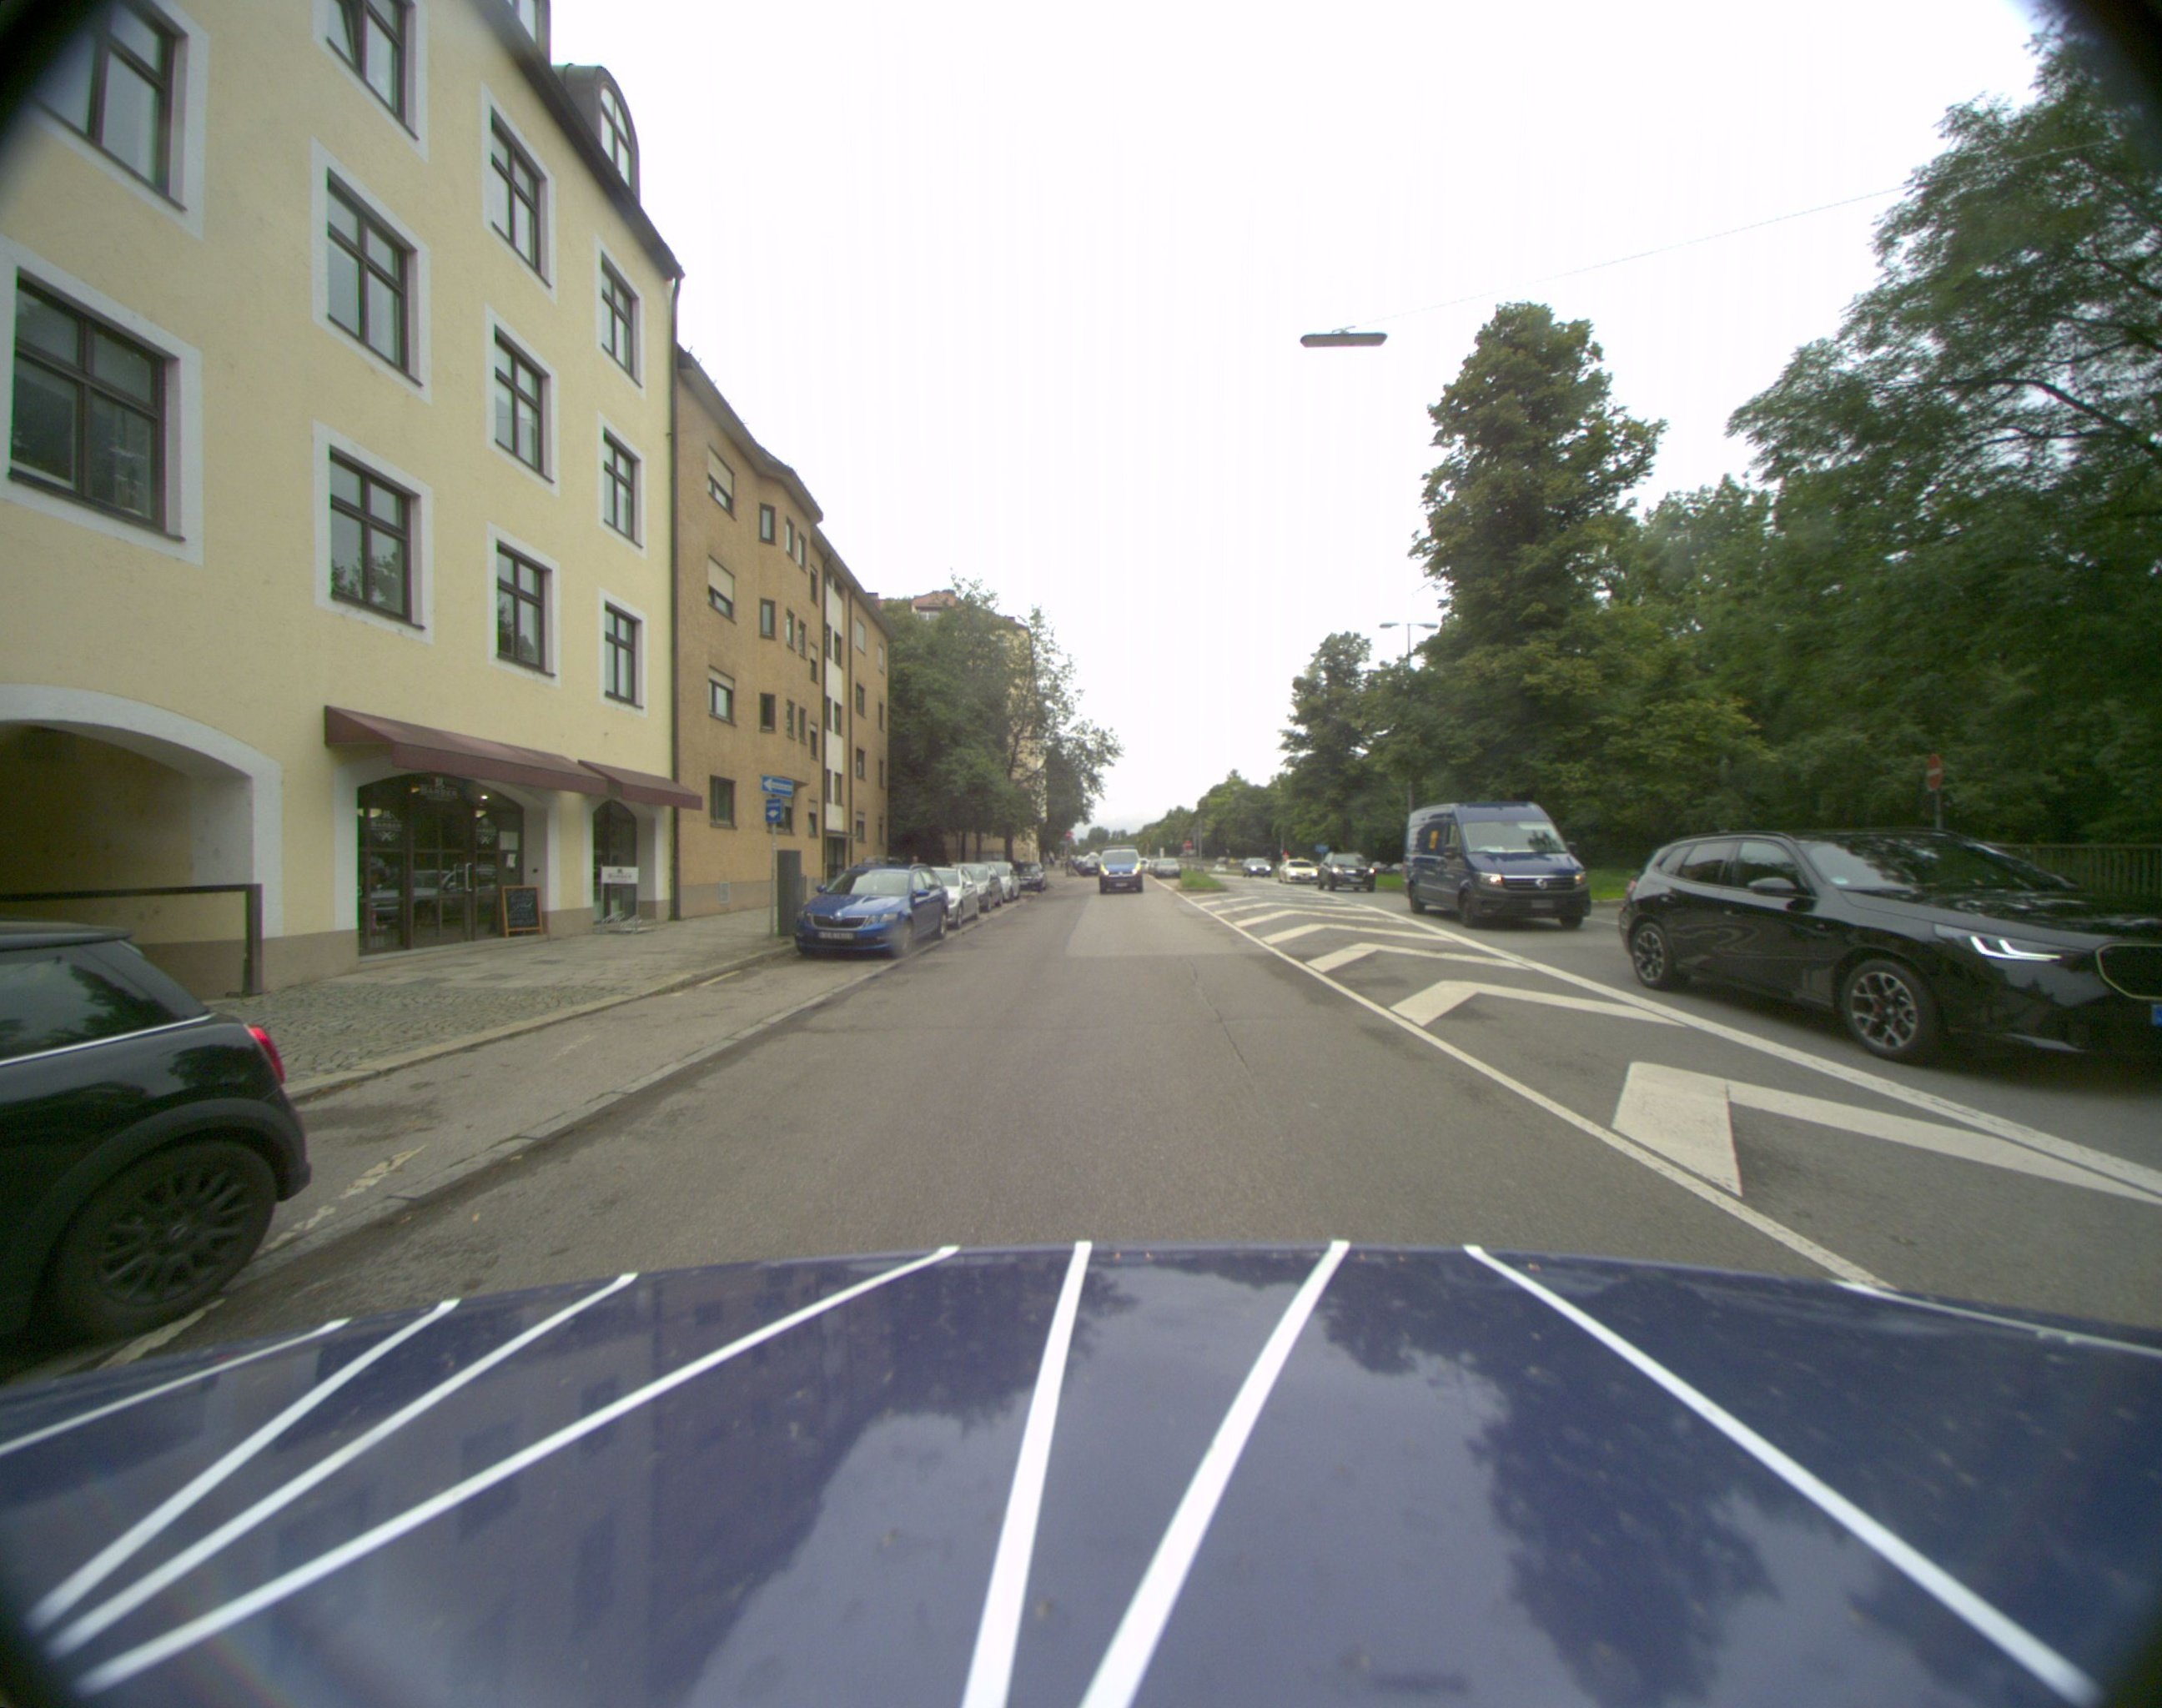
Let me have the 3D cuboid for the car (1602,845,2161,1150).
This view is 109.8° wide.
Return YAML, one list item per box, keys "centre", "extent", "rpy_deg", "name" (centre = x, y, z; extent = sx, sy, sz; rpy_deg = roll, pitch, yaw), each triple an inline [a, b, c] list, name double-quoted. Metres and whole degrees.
- centre: [6.632, 0.759, 6.309]
  extent: [1.916, 1.577, 4.834]
  rpy_deg: [-2, 0, 10]
  name: "car"

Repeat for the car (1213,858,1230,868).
- centre: [22.519, 1.446, 121.784]
  extent: [1.832, 1.438, 4.235]
  rpy_deg: [1, 0, -2]
  name: "car"

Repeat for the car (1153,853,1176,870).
- centre: [7.966, 0.734, 72.596]
  extent: [1.991, 1.556, 4.284]
  rpy_deg: [0, 0, 4]
  name: "car"

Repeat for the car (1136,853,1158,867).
- centre: [8.065, 0.700, 93.206]
  extent: [2.075, 1.692, 5.089]
  rpy_deg: [-1, 0, -2]
  name: "car"

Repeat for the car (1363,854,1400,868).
- centre: [32.742, 0.736, 82.983]
  extent: [1.999, 1.438, 4.524]
  rpy_deg: [1, 0, -3]
  name: "car"

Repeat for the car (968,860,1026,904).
- centre: [-3.085, 0.997, 28.570]
  extent: [1.632, 1.487, 3.821]
  rpy_deg: [1, 0, 2]
  name: "car"

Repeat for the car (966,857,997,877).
- centre: [-7.859, 0.996, 60.375]
  extent: [2.054, 1.458, 4.244]
  rpy_deg: [0, 0, -2]
  name: "car"

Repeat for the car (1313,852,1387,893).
- centre: [11.304, 0.750, 32.246]
  extent: [1.991, 1.618, 4.275]
  rpy_deg: [0, 0, 5]
  name: "car"

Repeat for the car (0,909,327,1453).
- centre: [-4.085, 0.978, 1.233]
  extent: [1.760, 1.487, 3.824]
  rpy_deg: [1, 0, 5]
  name: "car"

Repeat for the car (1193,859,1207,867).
- centre: [22.254, 1.704, 142.366]
  extent: [1.896, 1.438, 4.033]
  rpy_deg: [0, 0, 0]
  name: "car"

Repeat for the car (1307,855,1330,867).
- centre: [33.083, 1.014, 105.939]
  extent: [1.911, 1.549, 3.999]
  rpy_deg: [-1, 1, 0]
  name: "car"

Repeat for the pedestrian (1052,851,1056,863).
- centre: [-4.468, 0.522, 126.624]
  extent: [0.458, 2.002, 0.617]
  rpy_deg: [0, 0, -17]
  name: "pedestrian"

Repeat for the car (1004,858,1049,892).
- centre: [-2.635, 0.986, 37.701]
  extent: [1.796, 1.488, 4.376]
  rpy_deg: [2, 0, 1]
  name: "car"

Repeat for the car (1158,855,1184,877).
- centre: [6.728, 0.847, 56.990]
  extent: [1.902, 1.556, 4.773]
  rpy_deg: [0, 0, 6]
  name: "car"

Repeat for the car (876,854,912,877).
- centre: [-14.800, 0.856, 60.378]
  extent: [1.917, 1.741, 4.244]
  rpy_deg: [0, 0, -1]
  name: "car"

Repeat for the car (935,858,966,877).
- centre: [-10.241, 1.020, 59.900]
  extent: [1.917, 1.458, 4.244]
  rpy_deg: [0, 0, -2]
  name: "car"

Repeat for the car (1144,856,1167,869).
- centre: [8.200, 0.927, 83.847]
  extent: [1.992, 1.447, 4.281]
  rpy_deg: [0, 0, -2]
  name: "car"

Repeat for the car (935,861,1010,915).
- centre: [-3.301, 0.989, 23.760]
  extent: [1.632, 1.487, 3.787]
  rpy_deg: [1, 0, 2]
  name: "car"

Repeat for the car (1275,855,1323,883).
- centre: [12.872, 0.858, 45.131]
  extent: [1.991, 1.556, 4.656]
  rpy_deg: [0, 0, 6]
  name: "car"

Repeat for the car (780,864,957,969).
- centre: [-3.547, 0.961, 13.616]
  extent: [1.761, 1.487, 4.488]
  rpy_deg: [1, 0, 2]
  name: "car"

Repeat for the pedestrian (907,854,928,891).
- centre: [-7.319, 0.836, 33.971]
  extent: [0.672, 1.614, 0.980]
  rpy_deg: [-1, 1, 3]
  name: "pedestrian"

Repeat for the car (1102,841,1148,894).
- centre: [1.878, 0.535, 33.912]
  extent: [1.856, 2.198, 4.553]
  rpy_deg: [-1, 1, 1]
  name: "car"

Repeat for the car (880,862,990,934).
- centre: [-3.408, 0.978, 18.579]
  extent: [1.694, 1.487, 4.434]
  rpy_deg: [1, 0, 2]
  name: "car"

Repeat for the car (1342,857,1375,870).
- centre: [32.623, 1.096, 89.472]
  extent: [1.999, 1.526, 4.705]
  rpy_deg: [1, 0, -3]
  name: "car"

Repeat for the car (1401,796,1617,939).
- centre: [8.643, 0.196, 16.115]
  extent: [2.187, 2.450, 5.855]
  rpy_deg: [0, 1, 10]
  name: "car"

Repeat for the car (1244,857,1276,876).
- centre: [15.201, 1.025, 64.882]
  extent: [1.991, 1.556, 4.274]
  rpy_deg: [0, 0, 4]
  name: "car"

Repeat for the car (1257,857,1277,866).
- centre: [28.525, 1.160, 116.700]
  extent: [1.897, 1.438, 4.032]
  rpy_deg: [0, 0, -5]
  name: "car"

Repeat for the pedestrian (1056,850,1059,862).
- centre: [-3.932, 0.402, 127.514]
  extent: [0.458, 2.002, 0.617]
  rpy_deg: [0, 0, -17]
  name: "pedestrian"

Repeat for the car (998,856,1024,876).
- centre: [-5.492, 0.912, 60.023]
  extent: [1.825, 1.556, 4.244]
  rpy_deg: [0, 0, -2]
  name: "car"

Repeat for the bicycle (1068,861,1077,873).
- centre: [-0.759, 1.185, 67.372]
  extent: [0.632, 1.031, 1.736]
  rpy_deg: [0, 0, 7]
  name: "bicycle"

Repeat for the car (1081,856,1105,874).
- centre: [1.124, 0.959, 69.347]
  extent: [2.129, 1.556, 4.508]
  rpy_deg: [-1, 0, 2]
  name: "car"
